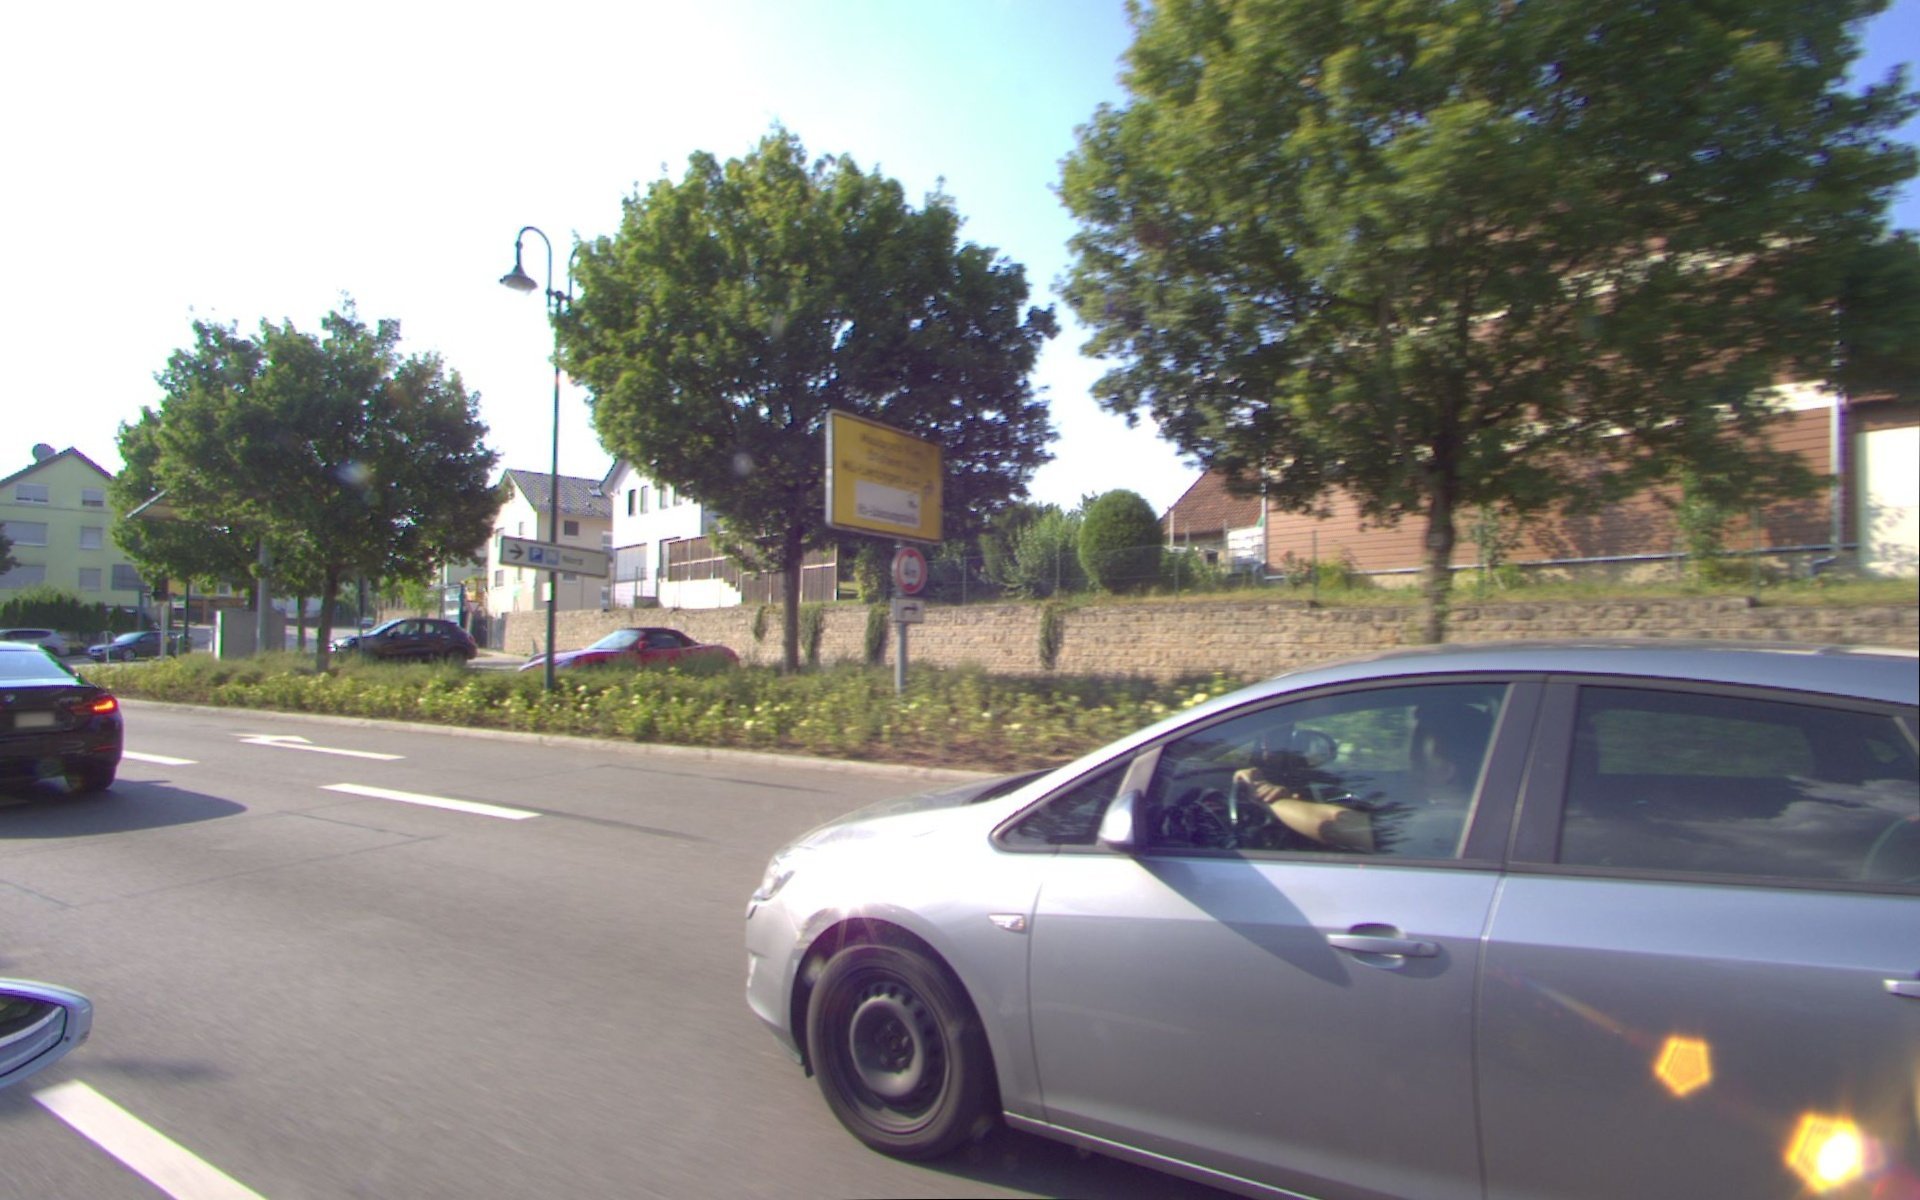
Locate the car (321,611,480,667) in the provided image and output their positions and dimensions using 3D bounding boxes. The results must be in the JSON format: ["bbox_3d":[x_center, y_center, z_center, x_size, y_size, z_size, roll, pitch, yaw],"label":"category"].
[{"bbox_3d":[-17.377,1.229,31.207,1.835,1.628,3.965,-1,-3,44],"label":"car"}]

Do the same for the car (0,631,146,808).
[{"bbox_3d":[-9.407,0.989,9.178,4.286,1.406,1.813,-1,-2,33],"label":"car"}]

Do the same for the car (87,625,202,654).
[{"bbox_3d":[-40.318,1.947,49.617,1.621,1.404,4.185,0,-2,18],"label":"car"}]

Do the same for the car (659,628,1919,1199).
[{"bbox_3d":[1.239,0.817,2.852,4.107,1.460,1.741,-1,-2,32],"label":"car"}]

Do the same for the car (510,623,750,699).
[{"bbox_3d":[-6.196,1.135,19.088,1.835,1.288,3.965,-3,-4,44],"label":"car"}]

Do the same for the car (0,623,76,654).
[{"bbox_3d":[-46.728,1.897,49.174,1.839,1.504,4.642,-1,-2,28],"label":"car"}]
